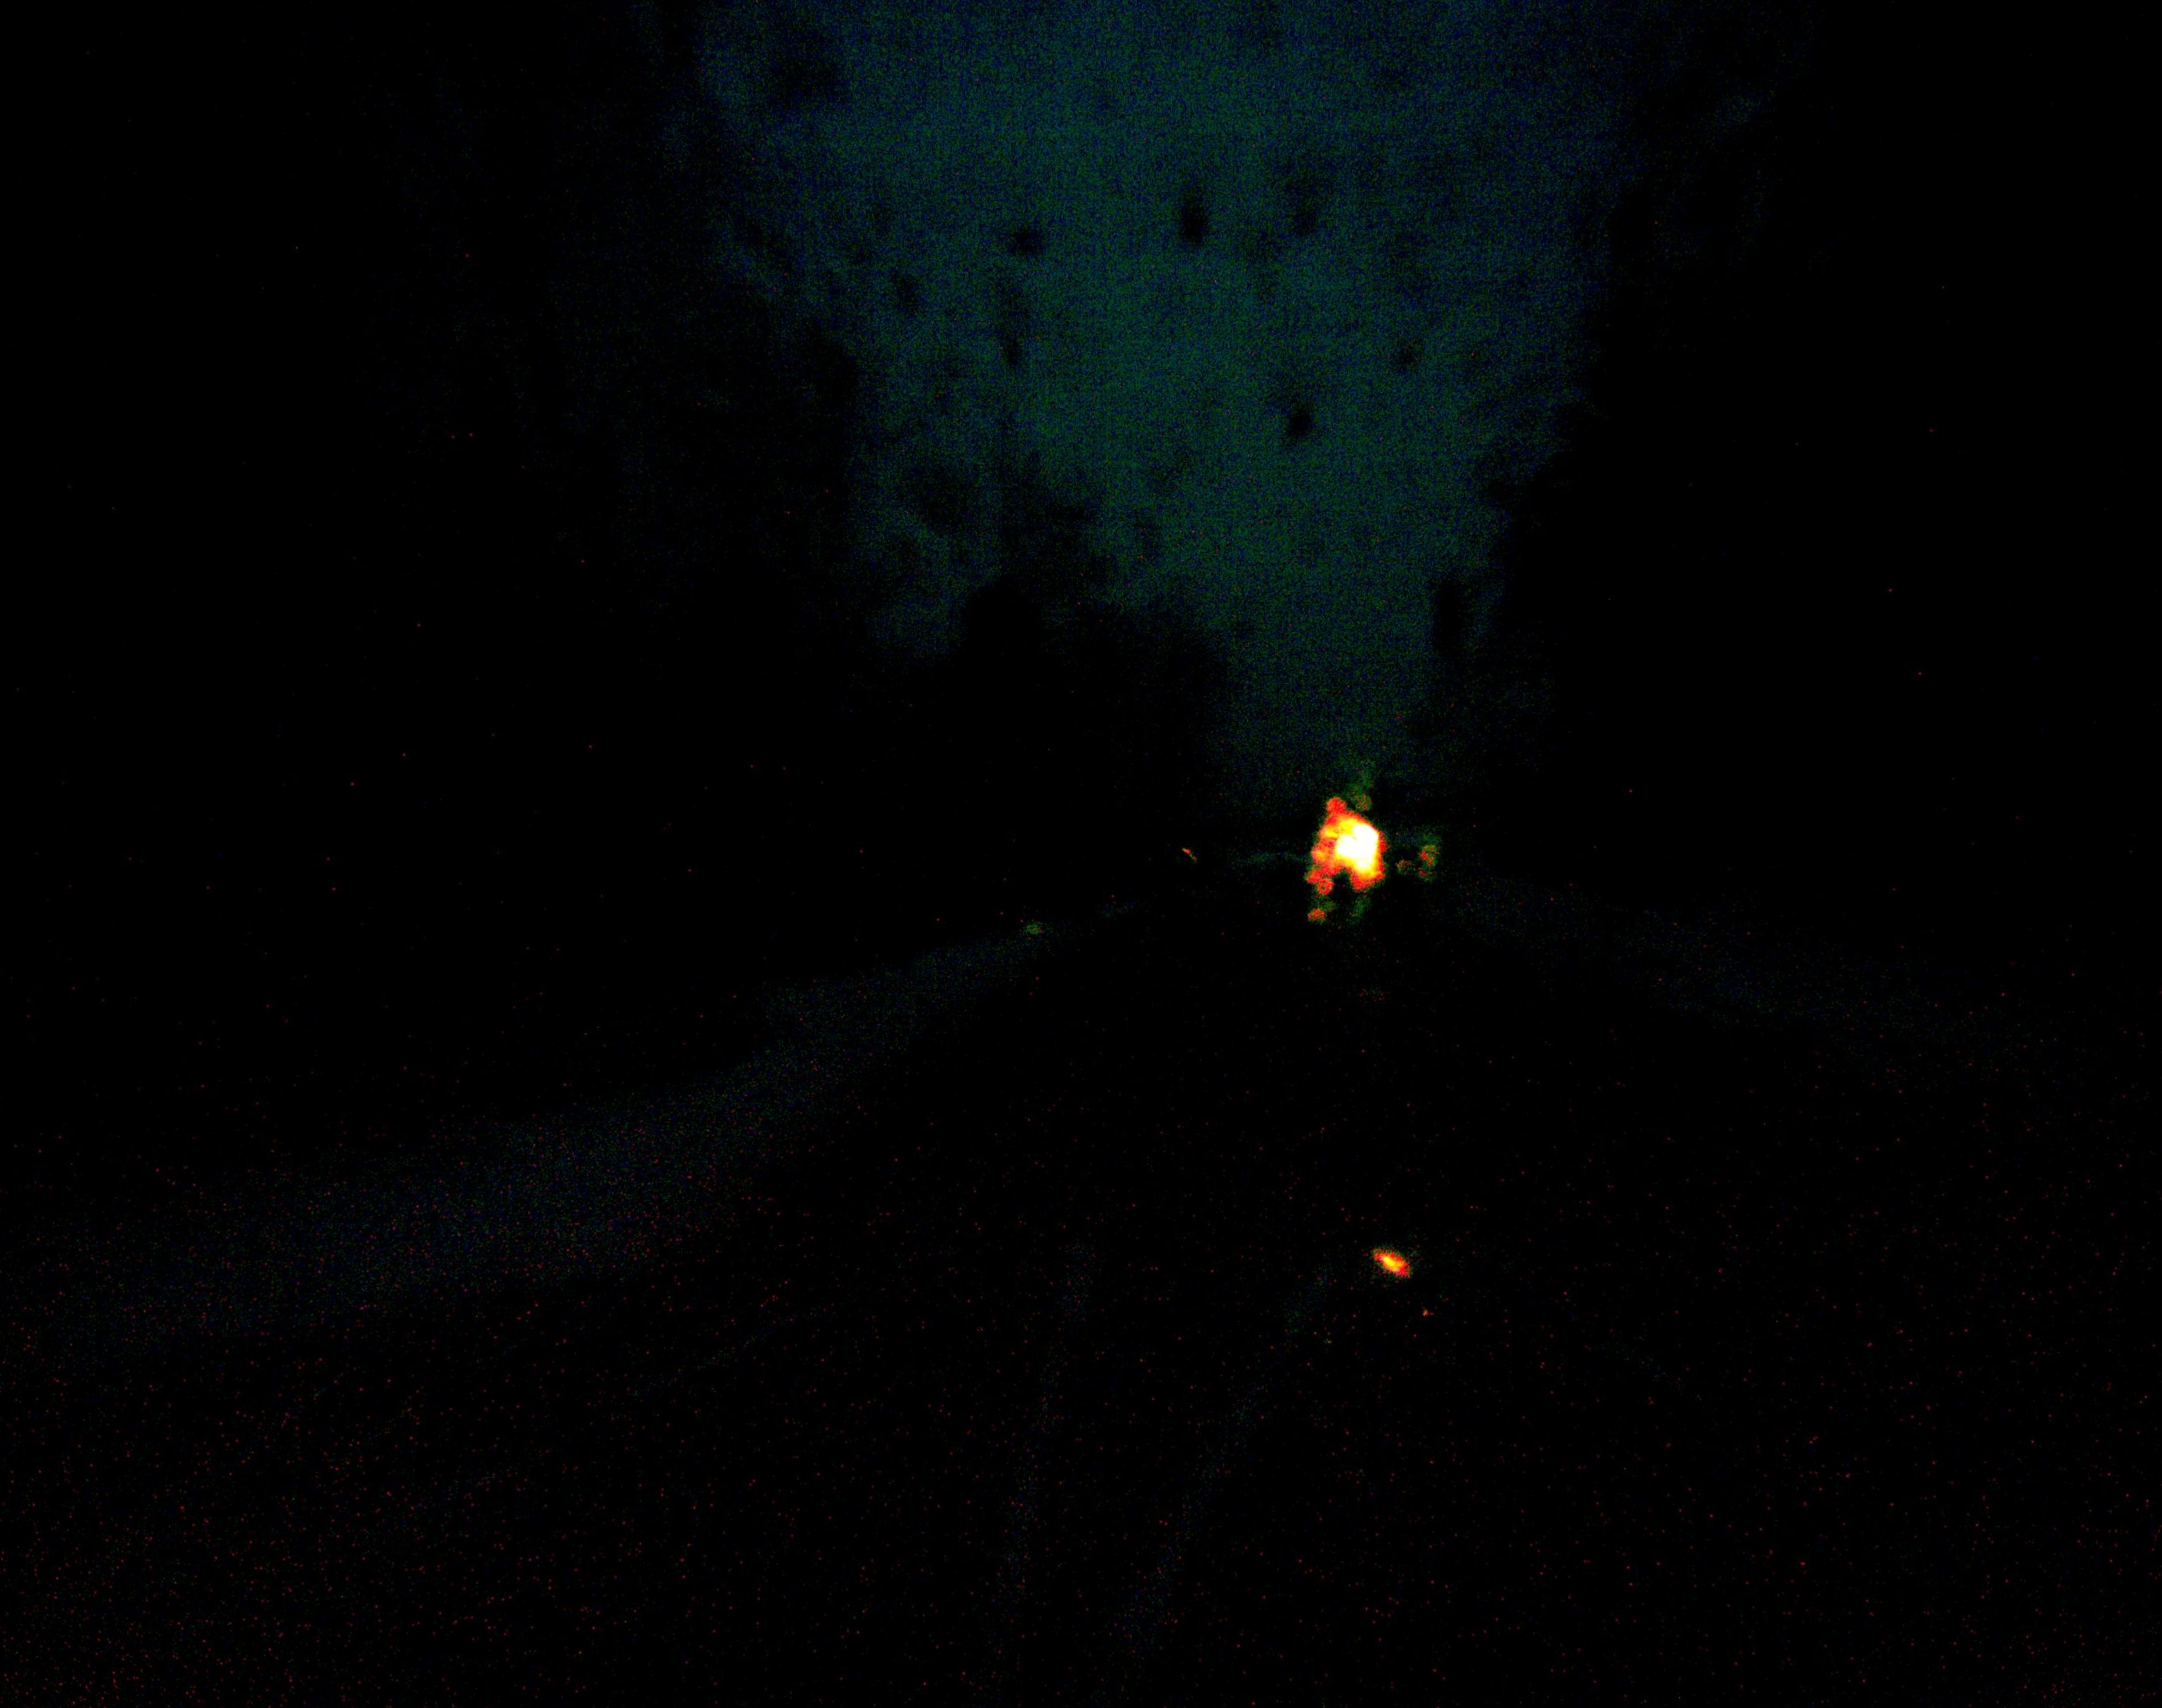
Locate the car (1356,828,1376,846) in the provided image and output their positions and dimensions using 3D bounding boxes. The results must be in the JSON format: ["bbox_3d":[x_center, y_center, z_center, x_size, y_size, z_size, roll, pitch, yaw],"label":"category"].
[{"bbox_3d":[37.563,-2.208,100.177,1.997,2.002,4.003,-7,1,16],"label":"car"}]
